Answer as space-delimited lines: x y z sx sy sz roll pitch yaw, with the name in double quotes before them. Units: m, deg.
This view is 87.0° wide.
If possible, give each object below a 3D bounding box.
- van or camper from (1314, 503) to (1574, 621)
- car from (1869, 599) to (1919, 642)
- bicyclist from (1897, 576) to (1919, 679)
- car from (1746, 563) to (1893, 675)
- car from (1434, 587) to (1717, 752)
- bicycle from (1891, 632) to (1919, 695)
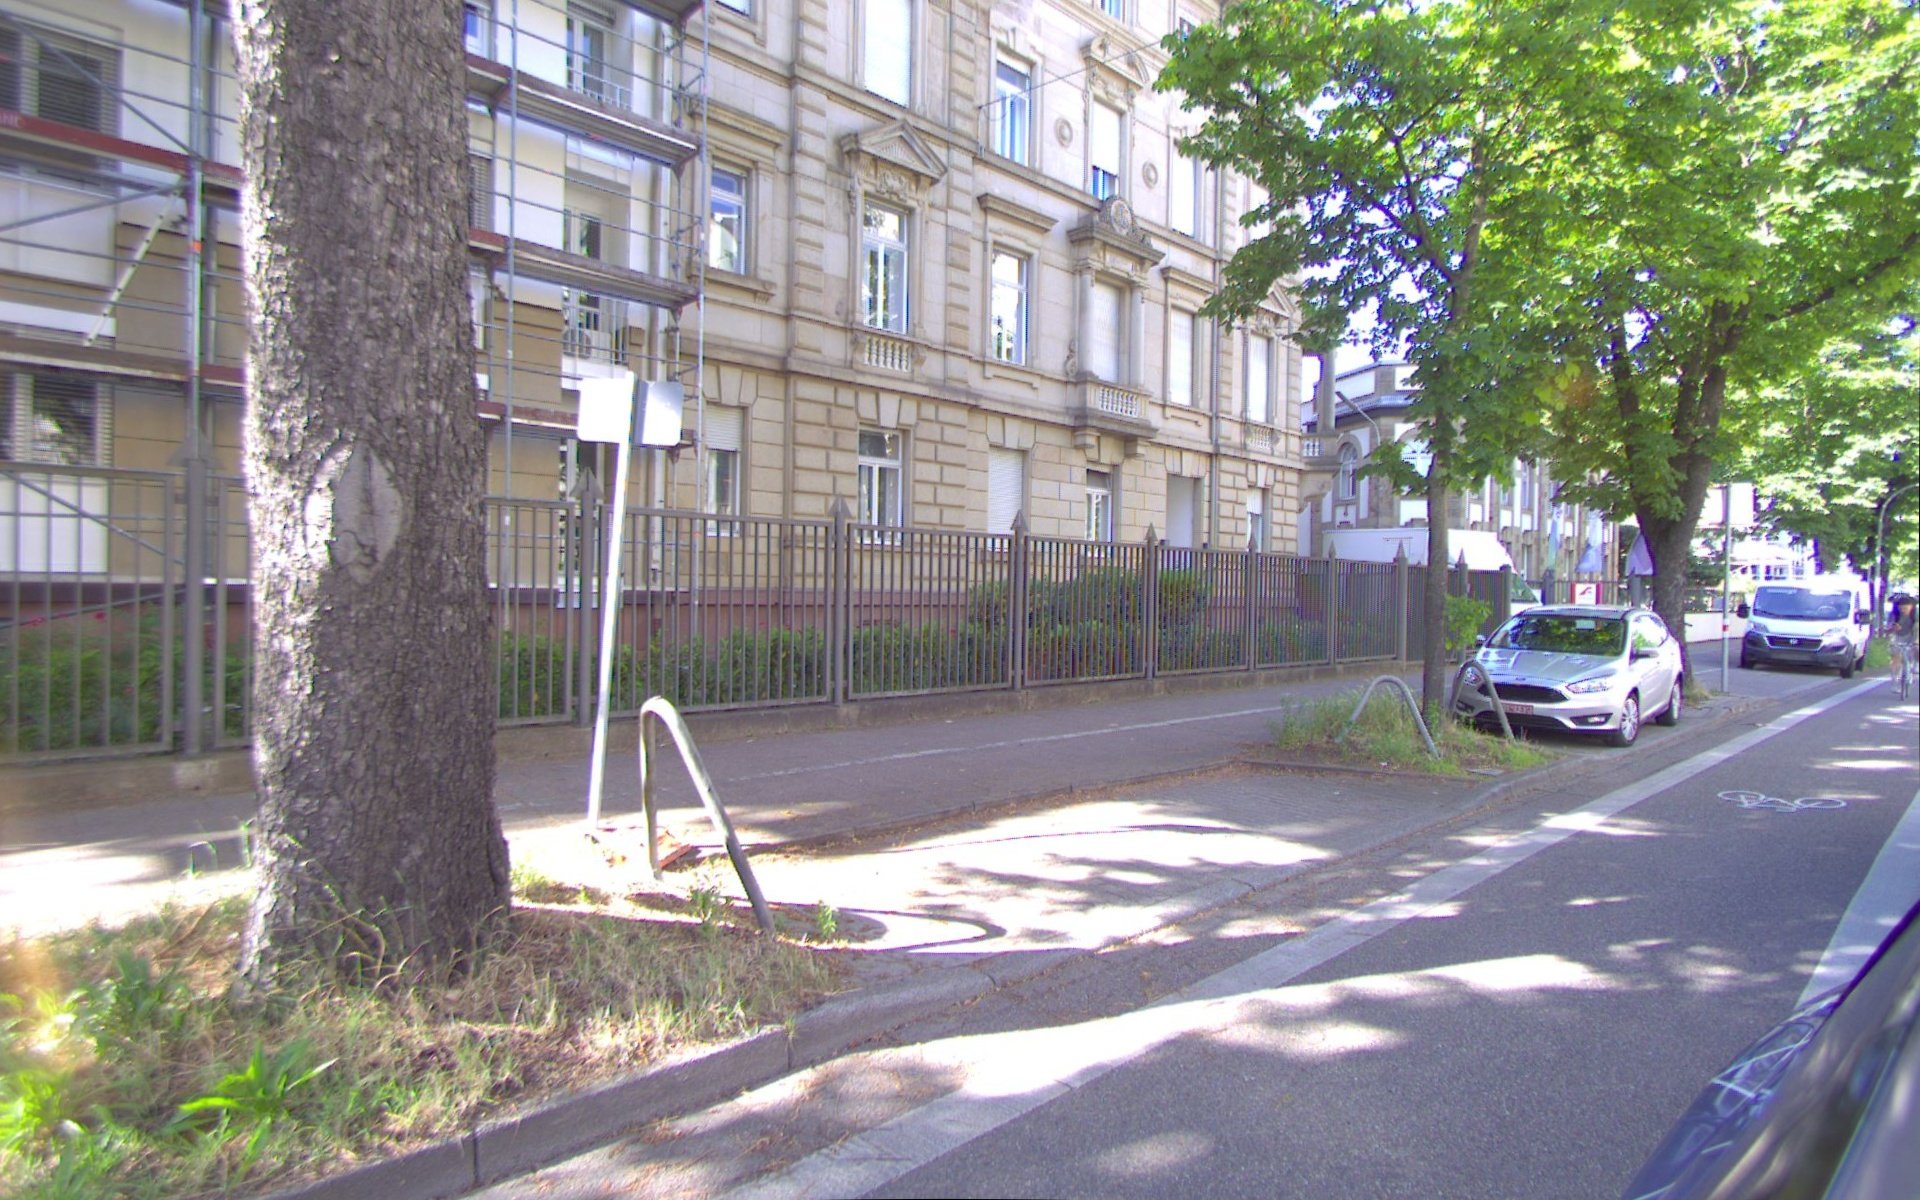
"van or camper" 12.237 -0.889 26.364 2.078 2.660 6.751 0 0 -17
"car" 37.421 0.775 40.068 4.035 1.569 1.863 -1 1 -44
"bicyclist" 16.142 0.446 16.960 0.862 1.691 0.532 0 0 -40
"car" 20.964 0.351 24.585 5.710 2.371 2.129 -1 3 -44
"car" 7.568 0.665 12.256 4.294 1.562 1.874 -1 3 -44
"bicycle" 16.131 1.040 16.950 2.020 0.933 0.535 -1 0 -40
